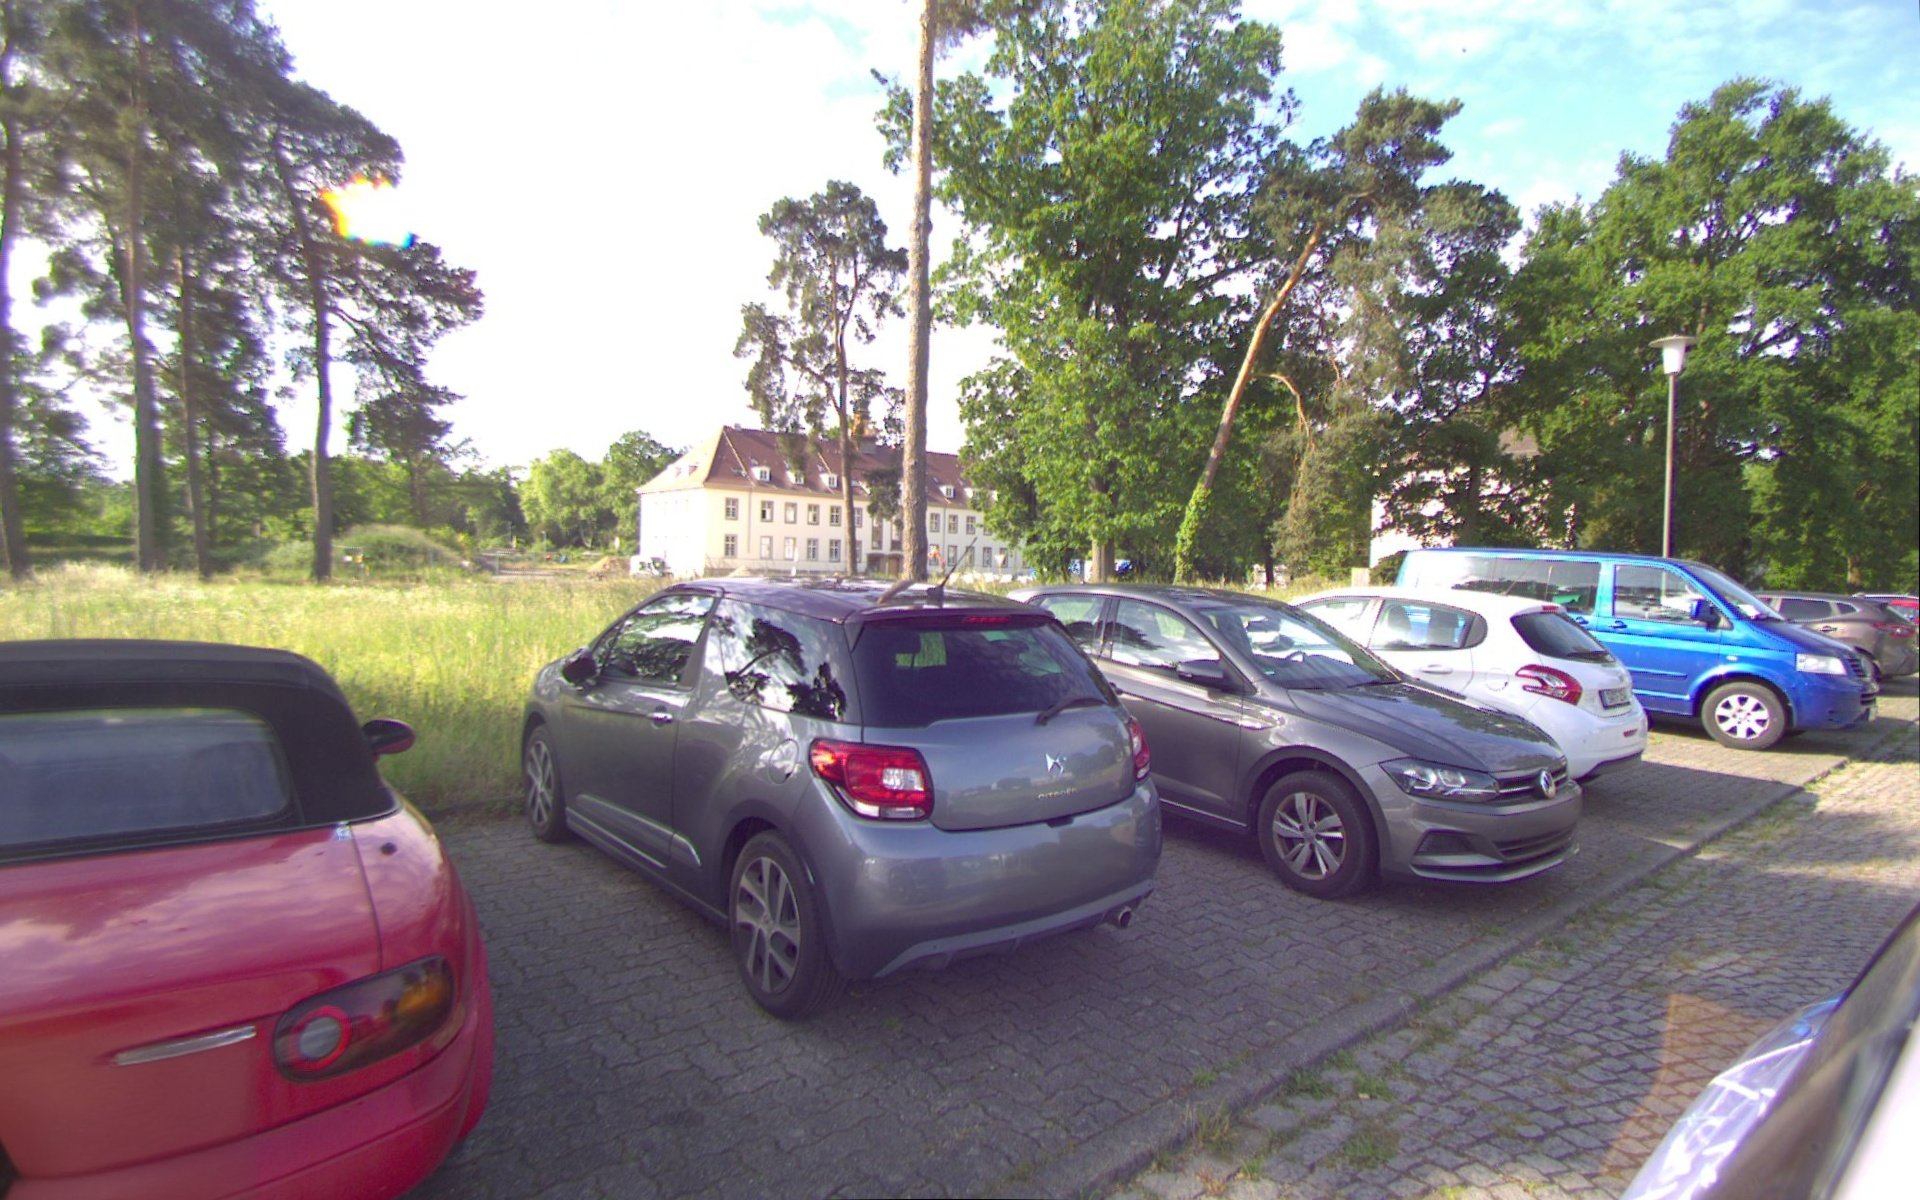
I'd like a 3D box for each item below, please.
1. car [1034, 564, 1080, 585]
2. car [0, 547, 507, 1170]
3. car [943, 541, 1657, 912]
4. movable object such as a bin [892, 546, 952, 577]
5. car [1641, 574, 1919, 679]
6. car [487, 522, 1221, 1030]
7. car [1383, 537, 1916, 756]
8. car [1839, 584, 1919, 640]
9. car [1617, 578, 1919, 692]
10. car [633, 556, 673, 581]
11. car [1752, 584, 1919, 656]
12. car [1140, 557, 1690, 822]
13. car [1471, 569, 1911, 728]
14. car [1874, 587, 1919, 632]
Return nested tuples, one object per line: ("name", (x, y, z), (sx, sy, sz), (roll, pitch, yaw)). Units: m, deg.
("car", (9.300, -2.468, 97.016), (4.317, 1.963, 1.906), (-1, 0, -39))
("car", (-3.101, 0.492, 3.700), (1.715, 1.238, 3.717), (1, 3, -39))
("car", (1.776, 0.449, 6.218), (1.823, 1.466, 3.717), (1, 3, -39))
("movable object such as a bin", (-4.213, -4.289, 113.172), (6.338, 3.342, 2.862), (0, 0, 7))
("car", (15.959, 0.416, 19.597), (1.902, 1.617, 4.233), (-1, 4, -42))
("car", (-0.837, 0.414, 4.958), (1.784, 1.466, 3.717), (1, 3, -40))
("car", (7.708, 0.317, 11.776), (1.965, 1.959, 4.710), (0, 4, -40))
("car", (29.588, 0.419, 30.734), (1.821, 1.576, 4.096), (1, 3, -41))
("car", (14.165, 0.495, 17.595), (1.902, 1.617, 4.232), (-1, 3, -42))
("car", (-29.783, -3.031, 98.034), (1.967, 2.240, 4.423), (-1, 1, -43))
("car", (21.856, 0.472, 24.338), (1.821, 1.477, 4.096), (1, 3, -41))
("car", (3.516, 0.513, 8.375), (1.729, 1.553, 3.717), (1, 3, -39))
("car", (9.562, 0.484, 13.567), (1.905, 1.596, 4.408), (0, 4, -40))
("car", (33.220, 0.427, 33.568), (1.753, 1.440, 4.096), (1, 3, -41))
